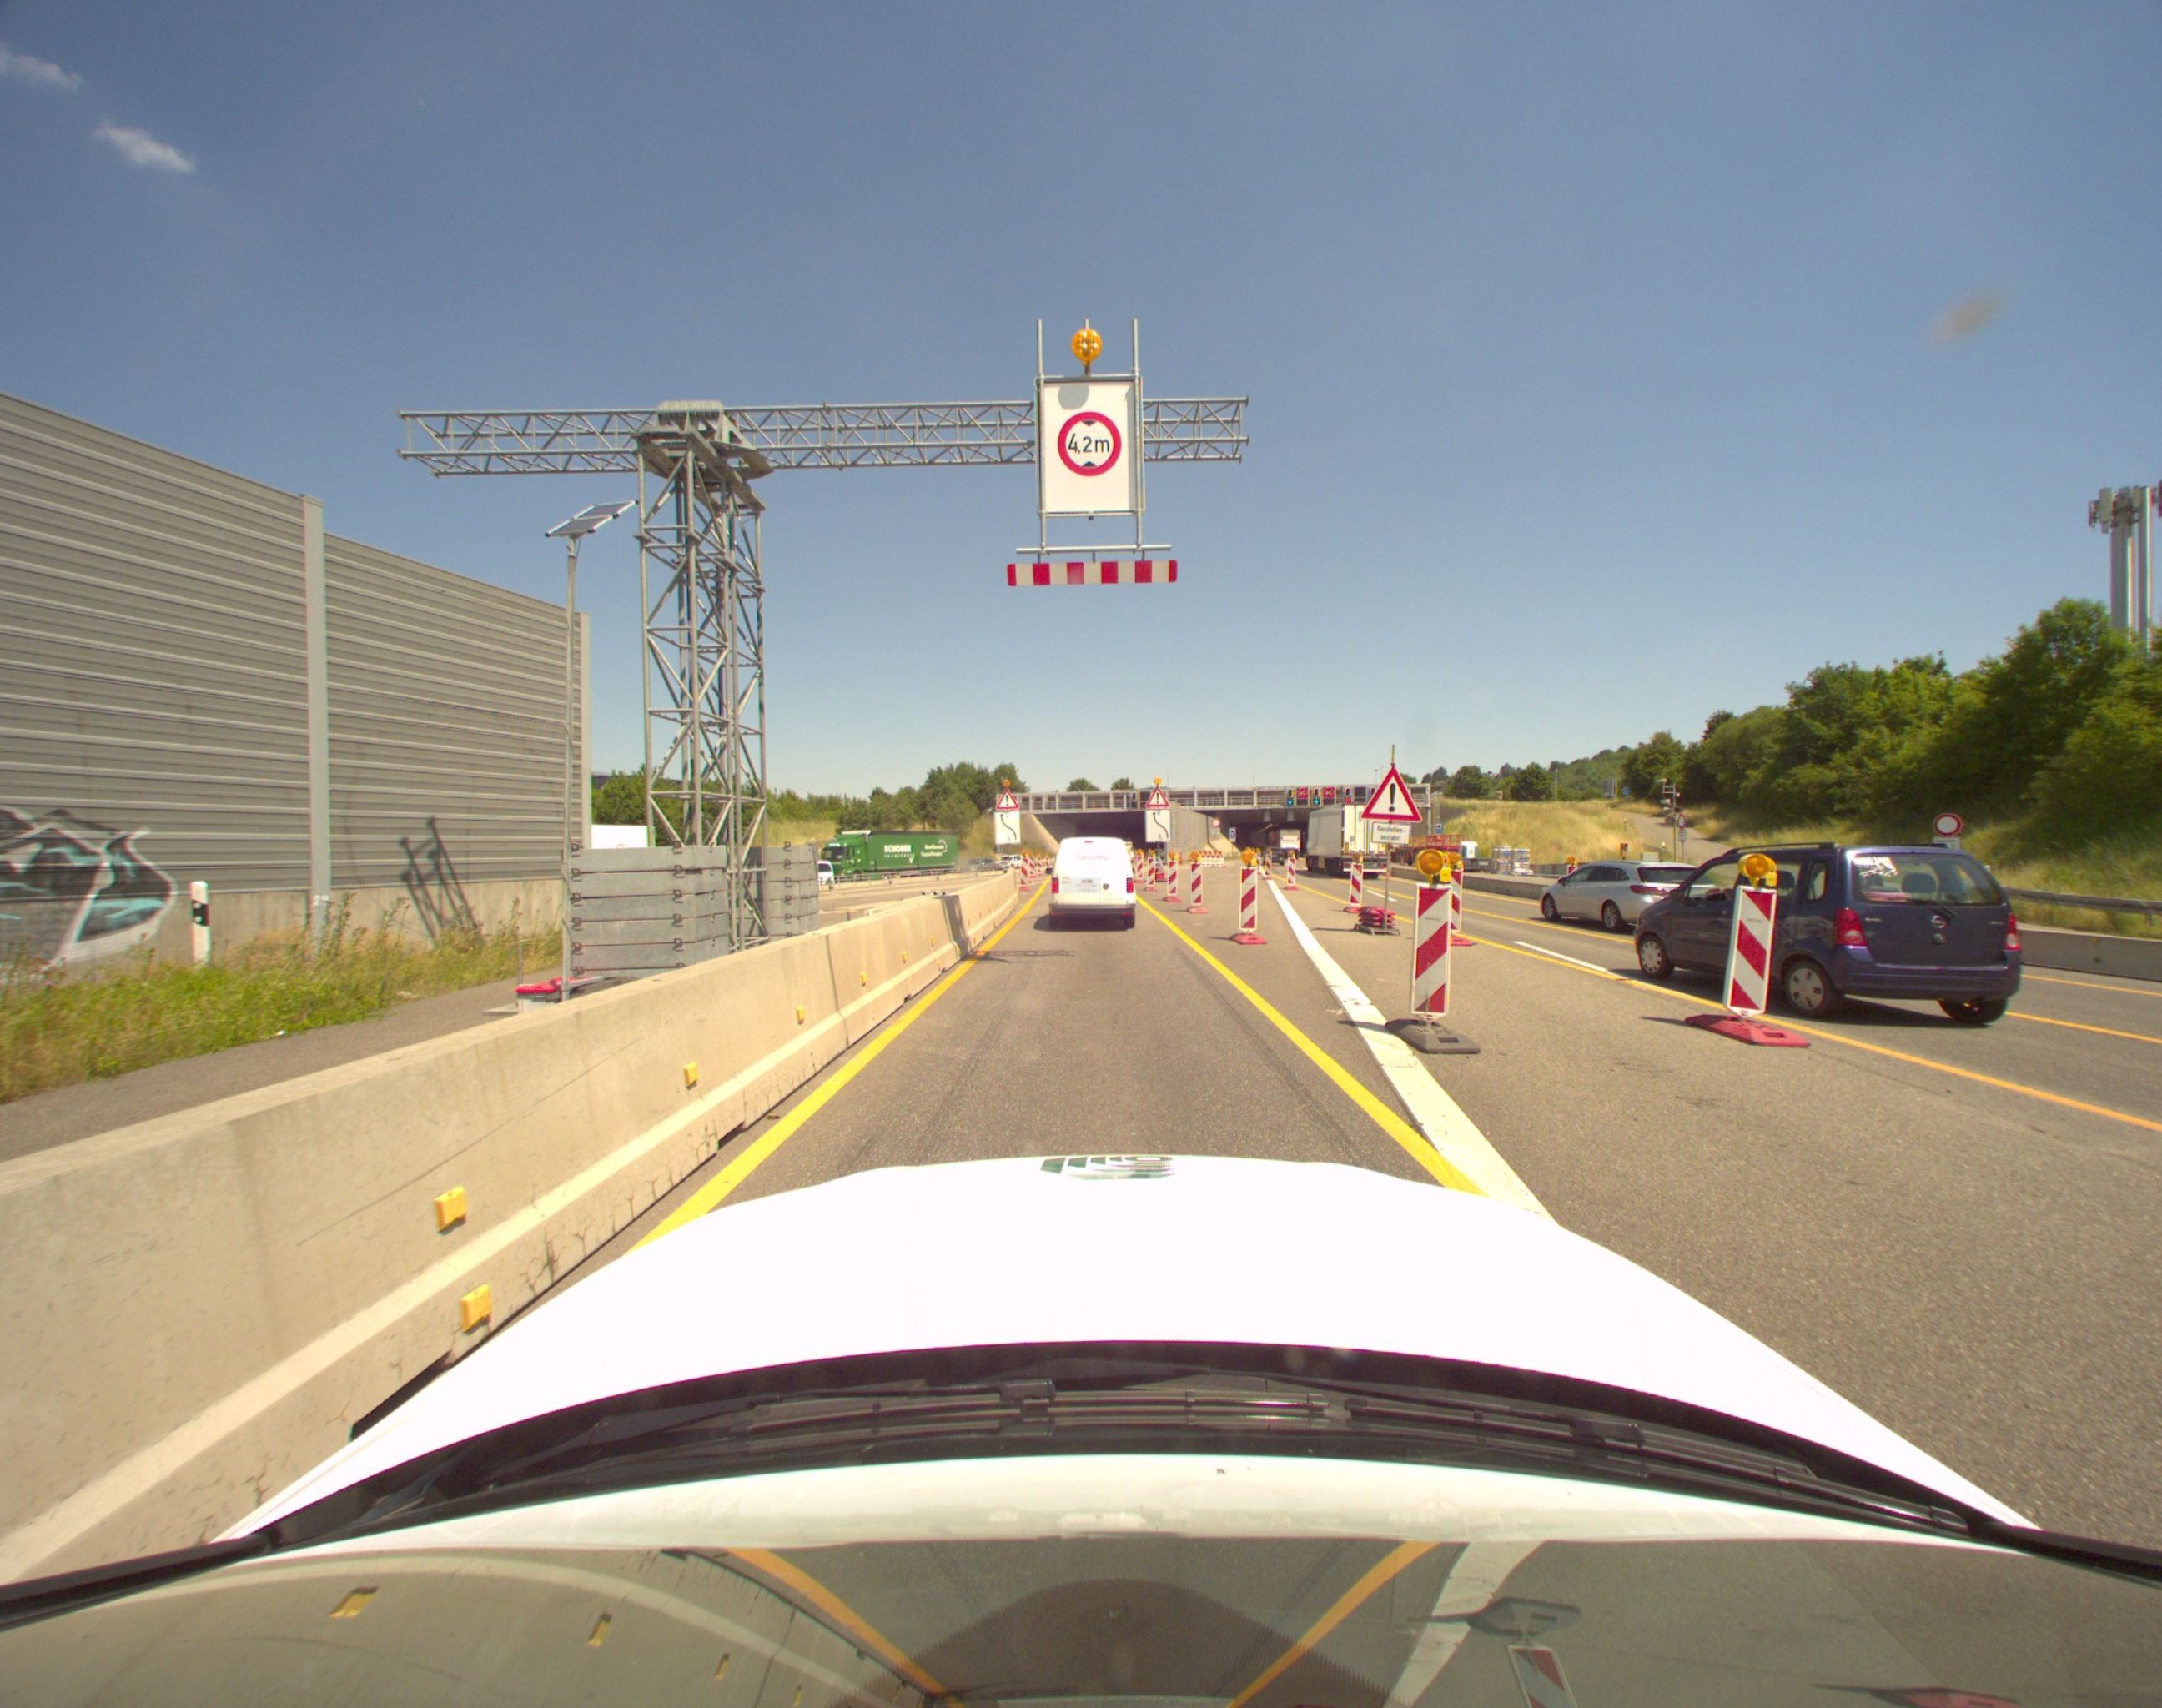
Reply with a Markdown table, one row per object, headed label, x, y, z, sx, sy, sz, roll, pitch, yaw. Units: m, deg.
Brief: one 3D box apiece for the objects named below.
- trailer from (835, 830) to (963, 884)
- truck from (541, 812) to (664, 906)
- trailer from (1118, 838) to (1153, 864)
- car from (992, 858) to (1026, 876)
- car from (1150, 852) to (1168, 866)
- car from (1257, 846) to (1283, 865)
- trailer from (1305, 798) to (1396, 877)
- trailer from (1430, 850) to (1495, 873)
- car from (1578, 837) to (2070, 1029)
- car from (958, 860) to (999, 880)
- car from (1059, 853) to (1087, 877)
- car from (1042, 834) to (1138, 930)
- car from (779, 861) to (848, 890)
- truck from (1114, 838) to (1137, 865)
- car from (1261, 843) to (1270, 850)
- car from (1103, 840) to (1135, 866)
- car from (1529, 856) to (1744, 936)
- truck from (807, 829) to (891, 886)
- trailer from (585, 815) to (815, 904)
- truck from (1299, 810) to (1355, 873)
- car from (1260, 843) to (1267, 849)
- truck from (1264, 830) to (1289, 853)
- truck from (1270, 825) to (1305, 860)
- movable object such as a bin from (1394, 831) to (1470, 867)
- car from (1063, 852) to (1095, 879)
| label | x | y | z | sx | sy | sz | roll | pitch | yaw |
| --- | --- | --- | --- | --- | --- | --- | --- | --- | --- |
| trailer | -15.480 | 0.265 | 71.257 | 3.515 | 4.270 | 13.983 | 0 | 0 | 22 |
| truck | -24.551 | 0.222 | 42.017 | 2.642 | 4.500 | 4.867 | 1 | 0 | 20 |
| trailer | 9.431 | -0.497 | 139.659 | 2.416 | 4.296 | 13.874 | -1 | 0 | 18 |
| car | -7.024 | 1.238 | 79.798 | 1.702 | 1.623 | 4.190 | -1 | 0 | 19 |
| car | 11.036 | 0.716 | 114.743 | 1.940 | 1.815 | 4.425 | -1 | 0 | 12 |
| car | 16.876 | 0.159 | 72.856 | 1.805 | 1.630 | 4.198 | 1 | 0 | 7 |
| trailer | 15.765 | -0.838 | 48.865 | 2.717 | 4.062 | 14.127 | 1 | 0 | 8 |
| trailer | 29.218 | 0.531 | 62.716 | 2.582 | 1.569 | 6.246 | -2 | 0 | 6 |
| car | 7.916 | 0.687 | 9.467 | 1.806 | 1.642 | 4.659 | 1 | 0 | 5 |
| car | -8.464 | 1.305 | 67.630 | 1.702 | 1.623 | 4.190 | -1 | 0 | 19 |
| car | -0.616 | 0.847 | 64.541 | 1.800 | 1.815 | 4.414 | -1 | 0 | 4 |
| car | 0.196 | 0.544 | 17.440 | 1.802 | 1.794 | 3.731 | -1 | 0 | 1 |
| car | -15.820 | 1.216 | 48.393 | 1.702 | 1.623 | 4.190 | 0 | 0 | 19 |
| truck | 7.283 | -0.459 | 133.243 | 2.412 | 4.270 | 4.861 | -1 | 0 | 18 |
| car | 49.662 | -2.039 | 219.289 | 2.318 | 1.838 | 4.556 | 1 | 0 | 9 |
| car | 4.293 | -0.101 | 91.134 | 2.798 | 2.773 | 7.117 | 0 | -1 | 8 |
| car | 11.770 | 0.801 | 17.720 | 1.806 | 1.464 | 4.658 | 1 | 0 | 5 |
| truck | -18.261 | 0.239 | 64.486 | 3.515 | 4.270 | 5.810 | 0 | 0 | 22 |
| trailer | -22.012 | 0.256 | 49.062 | 2.642 | 4.500 | 15.004 | 1 | 0 | 20 |
| truck | 16.766 | -0.805 | 55.845 | 2.730 | 4.033 | 5.939 | 1 | 0 | 8 |
| car | 53.989 | -2.392 | 241.115 | 1.804 | 1.630 | 4.201 | 1 | 0 | 10 |
| truck | 36.325 | -2.207 | 151.912 | 3.381 | 4.071 | 16.580 | 1 | 0 | 10 |
| truck | 28.503 | -1.393 | 113.251 | 3.381 | 4.335 | 16.579 | 1 | -1 | 10 |
| movable object such as a bin | 32.984 | -0.428 | 77.373 | 3.092 | 3.011 | 14.740 | -2 | 0 | 9 |
| car | -0.164 | 0.660 | 48.859 | 1.803 | 1.537 | 4.407 | -1 | 0 | -1 |
